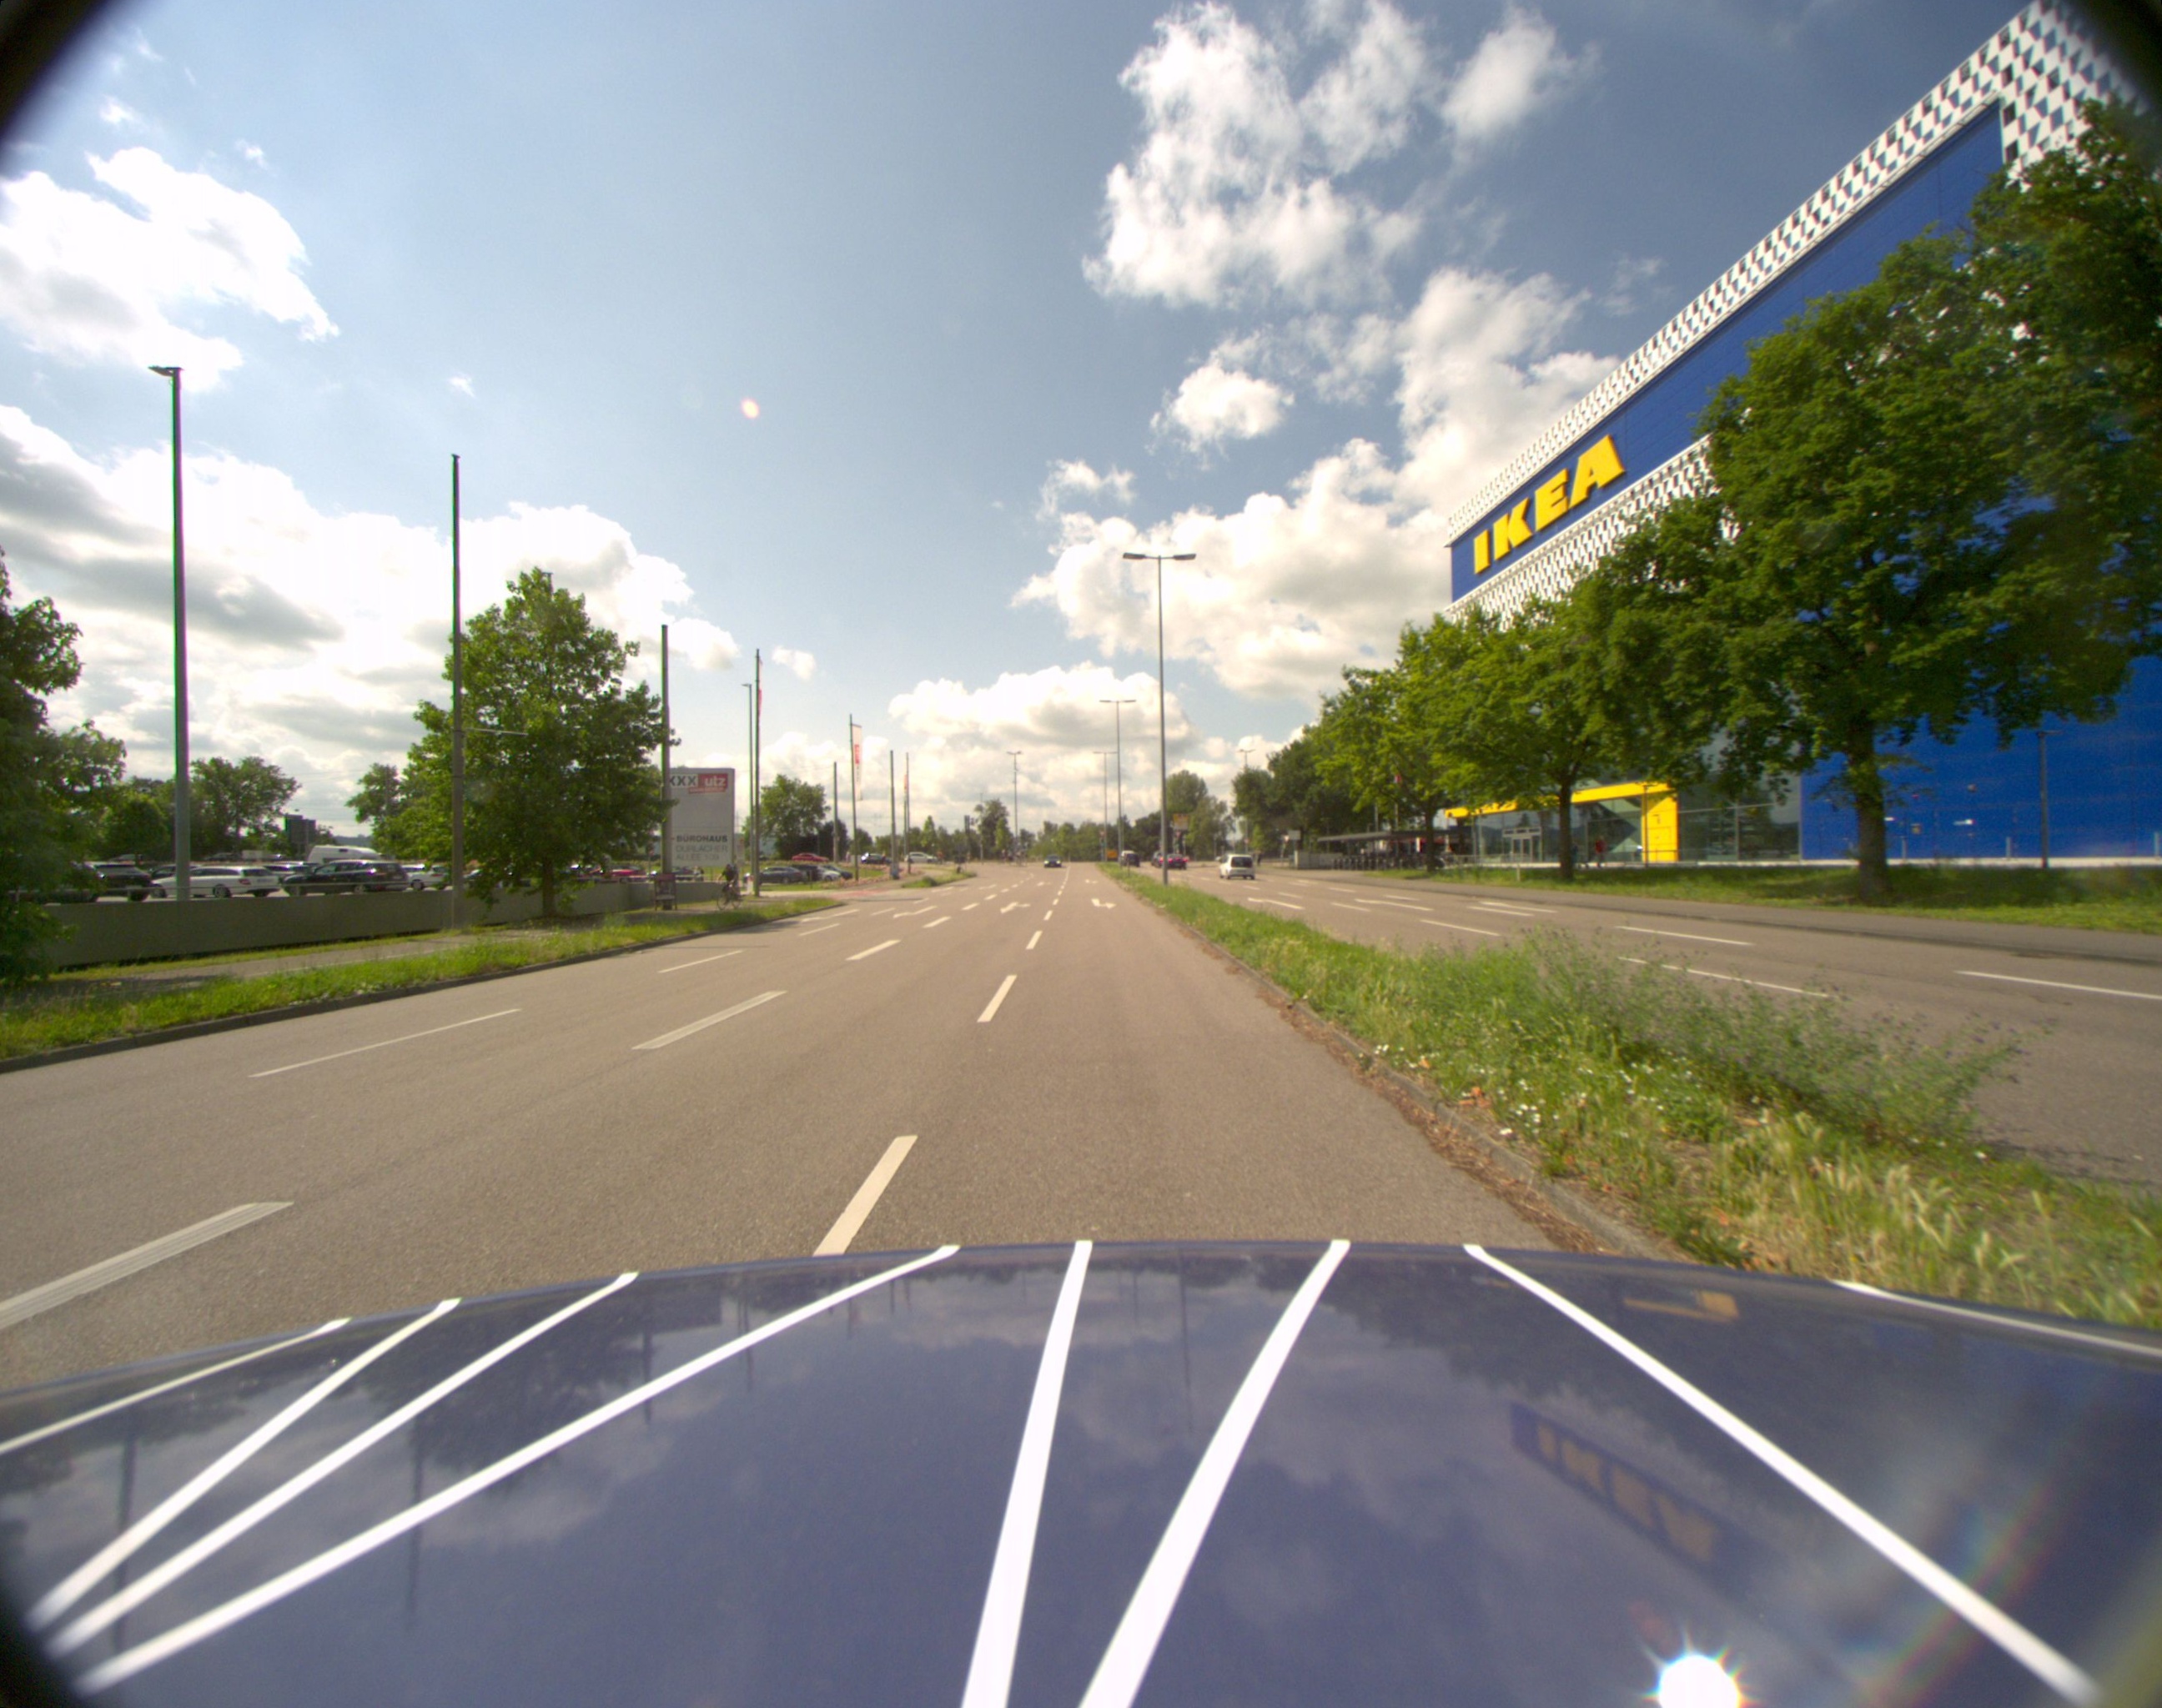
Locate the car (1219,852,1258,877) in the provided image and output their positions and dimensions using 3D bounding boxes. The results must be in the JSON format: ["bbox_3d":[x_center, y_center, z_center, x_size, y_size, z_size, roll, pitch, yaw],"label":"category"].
[{"bbox_3d":[9.405,0.615,45.593,1.647,1.420,3.670,1,0,1],"label":"car"}]

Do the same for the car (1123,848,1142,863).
[{"bbox_3d":[5.386,0.115,80.176,1.608,1.485,4.131,1,1,-1],"label":"car"}]

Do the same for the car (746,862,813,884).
[{"bbox_3d":[-23.409,1.442,59.111,4.369,1.468,1.857,-2,1,2],"label":"car"}]

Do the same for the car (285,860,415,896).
[{"bbox_3d":[-33.115,1.084,34.496,4.065,1.522,1.741,1,0,-3],"label":"car"}]

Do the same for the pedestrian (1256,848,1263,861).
[{"bbox_3d":[21.081,0.026,89.717,0.439,1.481,0.619,-1,1,-17],"label":"pedestrian"}]

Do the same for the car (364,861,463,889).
[{"bbox_3d":[-38.784,1.196,44.194,4.159,1.499,1.826,-1,-1,1],"label":"car"}]

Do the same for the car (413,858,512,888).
[{"bbox_3d":[-33.886,1.042,41.690,4.025,1.578,1.695,-1,-1,-1],"label":"car"}]

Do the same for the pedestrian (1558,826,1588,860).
[{"bbox_3d":[25.472,-0.565,39.333,0.952,1.692,0.887,-2,1,0],"label":"pedestrian"}]

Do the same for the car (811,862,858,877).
[{"bbox_3d":[-23.912,1.492,73.895,3.997,1.410,1.715,-1,1,-2],"label":"car"}]

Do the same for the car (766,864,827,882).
[{"bbox_3d":[-23.903,1.602,63.901,4.369,1.408,1.856,-1,1,0],"label":"car"}]

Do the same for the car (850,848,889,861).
[{"bbox_3d":[-25.720,0.083,92.527,4.194,1.474,1.918,0,1,13],"label":"car"}]

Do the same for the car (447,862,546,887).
[{"bbox_3d":[-33.815,1.186,44.038,4.369,1.354,1.847,0,1,2],"label":"car"}]

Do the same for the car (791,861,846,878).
[{"bbox_3d":[-23.898,1.440,69.184,4.369,1.431,1.796,-1,0,1],"label":"car"}]

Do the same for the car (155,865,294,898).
[{"bbox_3d":[-38.690,1.224,34.407,4.300,1.419,1.760,-1,-2,0],"label":"car"}]

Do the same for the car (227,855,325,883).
[{"bbox_3d":[-49.246,0.928,46.519,4.058,1.543,1.851,-2,0,2],"label":"car"}]

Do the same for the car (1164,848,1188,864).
[{"bbox_3d":[8.858,0.131,71.240,1.668,1.413,4.518,1,0,0],"label":"car"}]

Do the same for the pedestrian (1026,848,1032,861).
[{"bbox_3d":[-6.470,0.059,94.812,0.556,1.515,0.470,-1,0,9],"label":"pedestrian"}]

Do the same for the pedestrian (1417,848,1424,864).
[{"bbox_3d":[35.618,0.191,79.748,0.410,1.693,0.516,-1,0,-6],"label":"pedestrian"}]

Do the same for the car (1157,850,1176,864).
[{"bbox_3d":[8.687,0.278,77.207,1.415,1.383,4.095,1,0,0],"label":"car"}]

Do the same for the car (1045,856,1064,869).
[{"bbox_3d":[-2.938,0.946,84.958,1.797,1.311,4.164,-2,0,3],"label":"car"}]

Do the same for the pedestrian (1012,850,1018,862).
[{"bbox_3d":[-8.132,0.254,93.676,0.584,1.515,0.469,-2,1,9],"label":"pedestrian"}]

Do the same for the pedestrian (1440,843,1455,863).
[{"bbox_3d":[31.669,-0.098,65.632,0.898,1.697,0.710,-1,1,-1],"label":"pedestrian"}]

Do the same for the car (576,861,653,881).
[{"bbox_3d":[-33.113,1.203,54.029,4.369,1.354,1.847,1,-1,2],"label":"car"}]

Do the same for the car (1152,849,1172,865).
[{"bbox_3d":[9.084,0.296,85.806,1.775,1.606,3.999,1,1,-1],"label":"car"}]

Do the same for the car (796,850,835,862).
[{"bbox_3d":[-32.709,0.252,93.817,4.248,1.352,1.748,0,1,-4],"label":"car"}]

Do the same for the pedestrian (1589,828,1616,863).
[{"bbox_3d":[27.150,-0.449,39.588,0.755,1.812,0.887,-2,1,0],"label":"pedestrian"}]

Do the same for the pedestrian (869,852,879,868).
[{"bbox_3d":[-23.297,0.658,85.494,0.820,1.792,0.761,-1,1,27],"label":"pedestrian"}]

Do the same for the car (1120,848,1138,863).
[{"bbox_3d":[5.505,0.161,88.143,1.712,1.610,4.377,1,1,-1],"label":"car"}]

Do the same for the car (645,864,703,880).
[{"bbox_3d":[-38.409,1.694,71.777,4.369,1.400,2.050,1,-1,2],"label":"car"}]

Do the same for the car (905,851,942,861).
[{"bbox_3d":[-21.004,0.286,101.452,4.495,1.405,2.013,0,0,-3],"label":"car"}]

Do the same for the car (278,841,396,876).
[{"bbox_3d":[-67.929,0.380,69.477,7.897,3.136,3.122,0,1,3],"label":"car"}]

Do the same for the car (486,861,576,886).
[{"bbox_3d":[-33.591,1.199,46.466,4.369,1.433,1.627,1,-1,2],"label":"car"}]

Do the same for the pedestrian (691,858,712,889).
[{"bbox_3d":[-22.036,1.142,44.168,0.874,1.771,0.782,-1,-1,-44],"label":"pedestrian"}]

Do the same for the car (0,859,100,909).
[{"bbox_3d":[-34.832,0.941,24.431,4.193,1.543,1.765,0,-1,-1],"label":"car"}]

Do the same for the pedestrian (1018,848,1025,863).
[{"bbox_3d":[-7.220,0.176,92.549,0.688,1.718,0.701,0,2,11],"label":"pedestrian"}]
